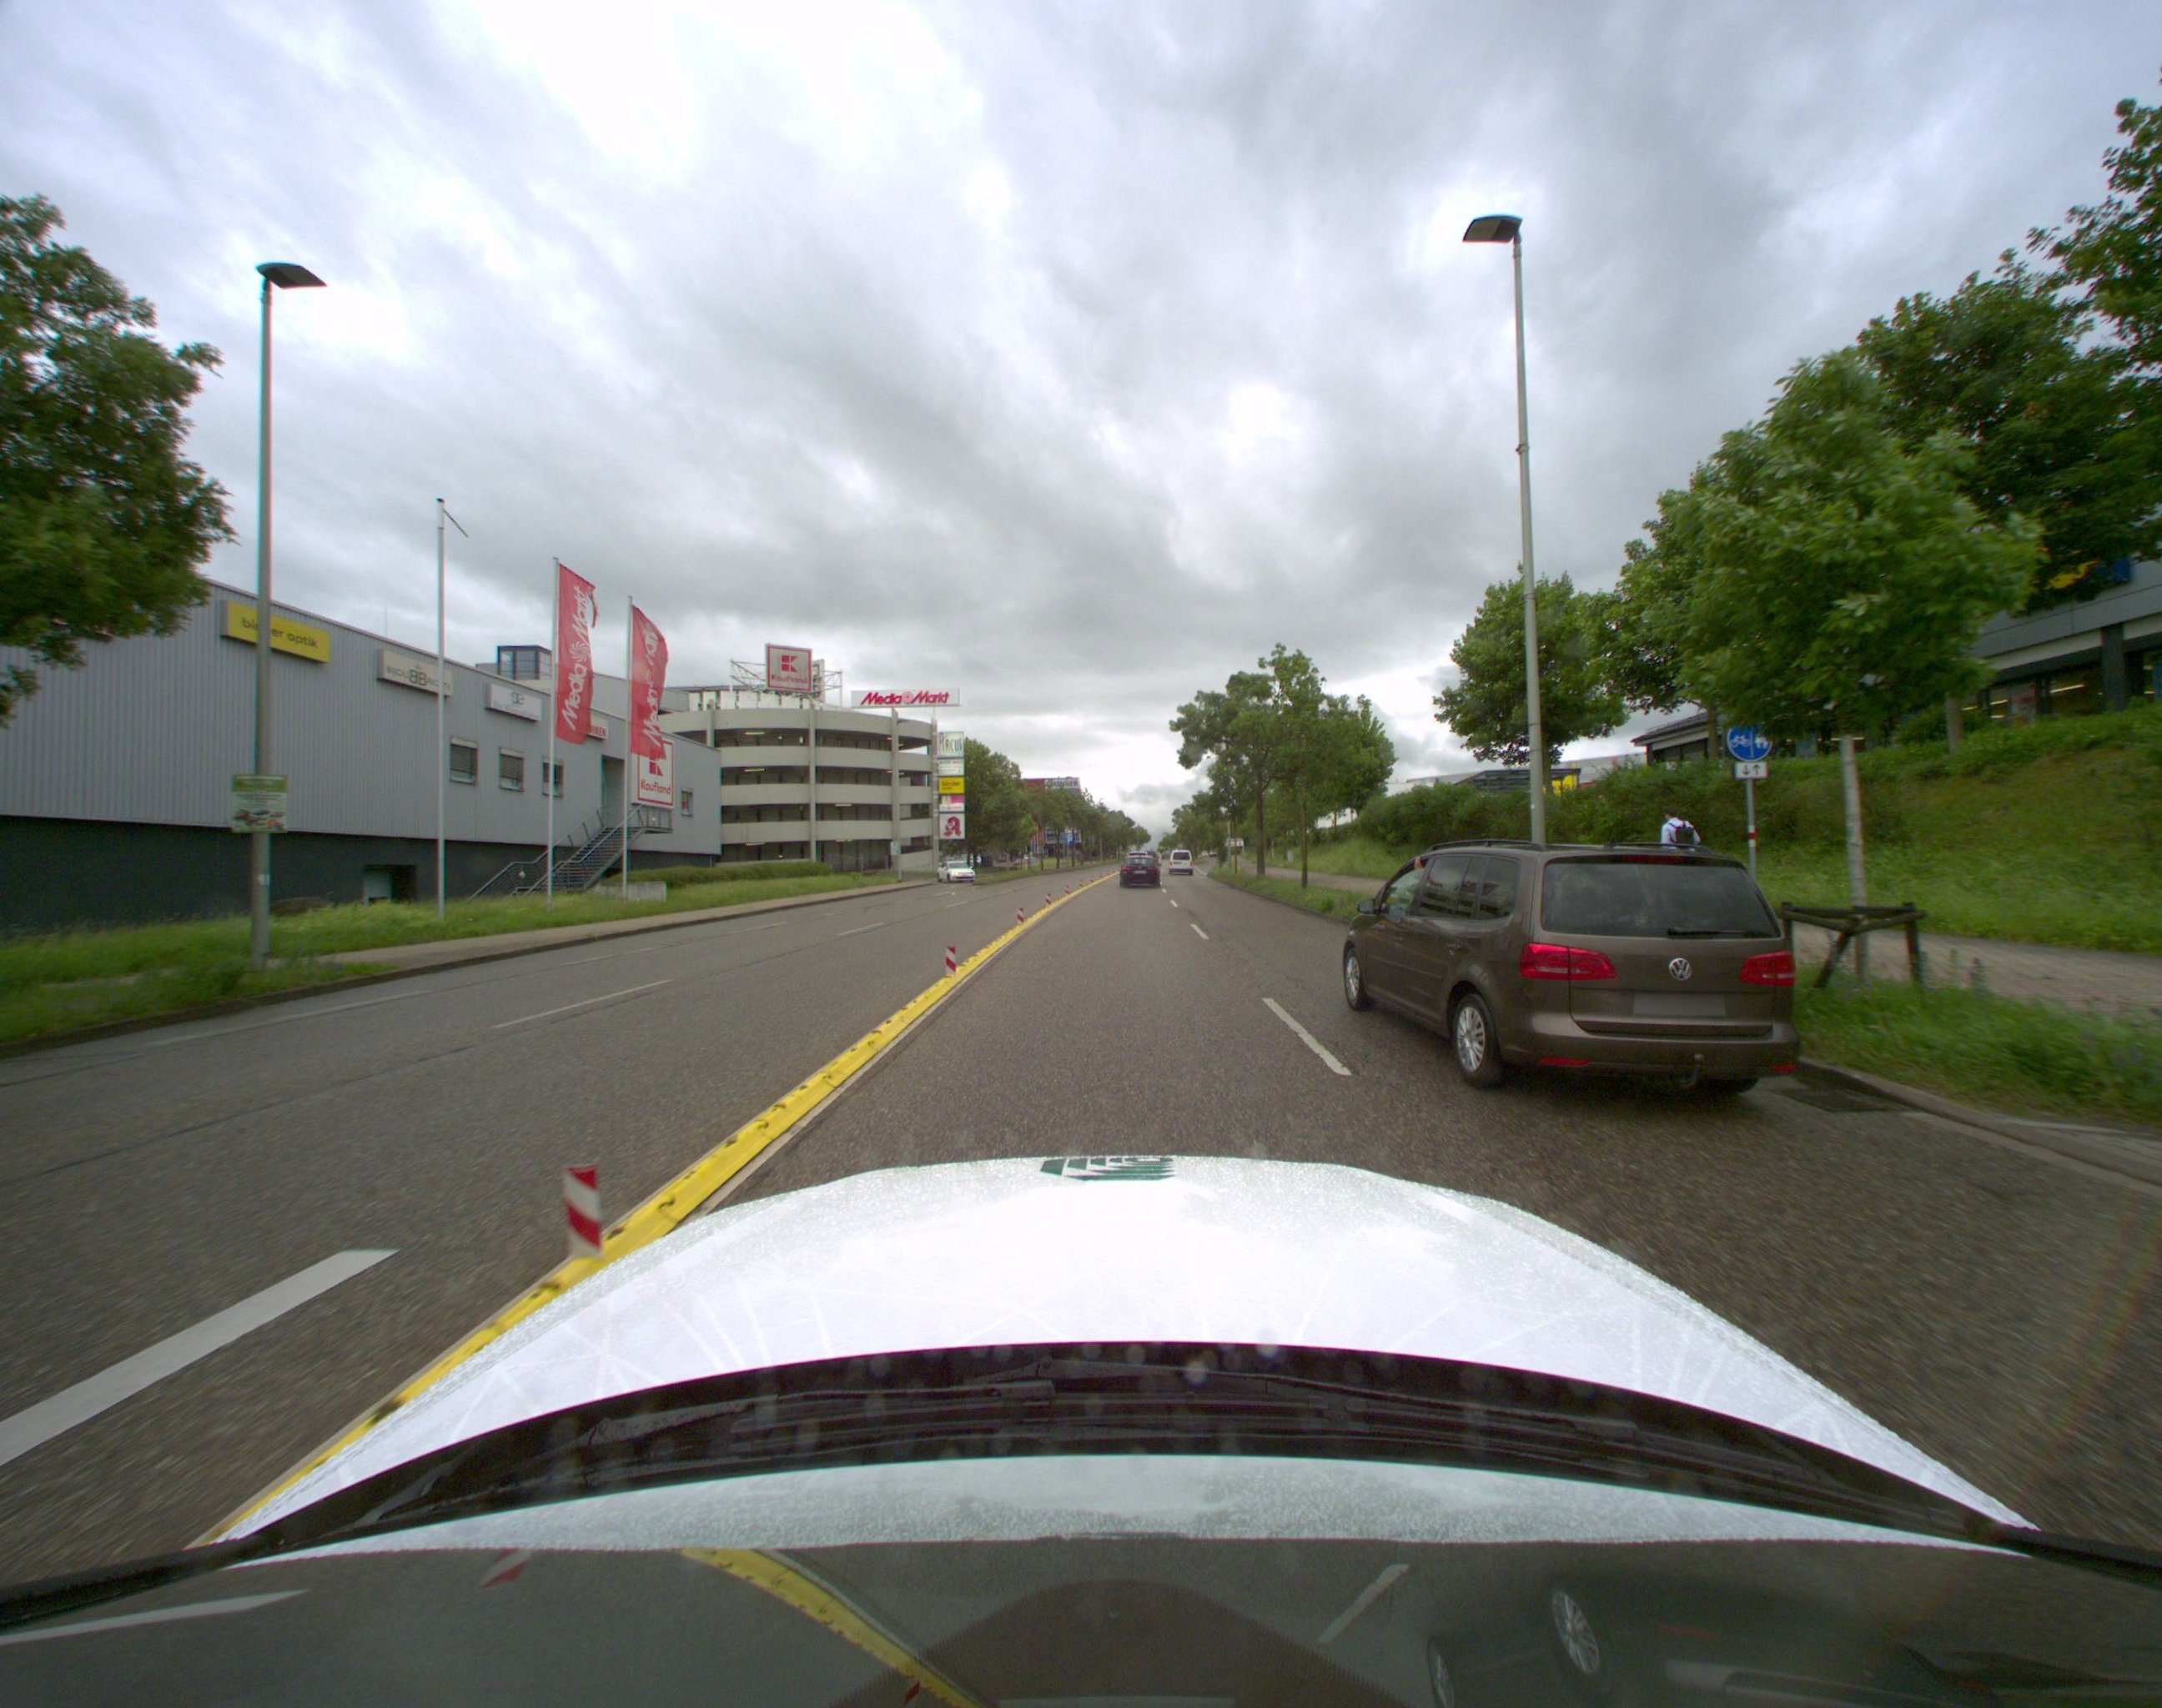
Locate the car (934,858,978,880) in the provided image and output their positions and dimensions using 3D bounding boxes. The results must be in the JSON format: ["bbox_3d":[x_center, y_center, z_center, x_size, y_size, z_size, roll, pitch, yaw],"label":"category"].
[{"bbox_3d":[-8.639,1.027,56.054,1.908,1.408,4.388,-3,0,-24],"label":"car"}]

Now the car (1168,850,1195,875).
[{"bbox_3d":[7.400,0.597,60.211,1.819,1.759,4.005,1,0,4],"label":"car"}]

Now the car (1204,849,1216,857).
[{"bbox_3d":[23.545,-0.137,149.053,1.786,1.510,4.004,1,-1,3],"label":"car"}]

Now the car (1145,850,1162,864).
[{"bbox_3d":[7.849,0.324,88.000,1.786,1.510,4.005,1,-1,5],"label":"car"}]

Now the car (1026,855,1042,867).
[{"bbox_3d":[-7.780,1.132,135.803,2.030,1.762,4.951,0,1,4],"label":"car"}]

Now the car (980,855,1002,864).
[{"bbox_3d":[-17.041,1.018,154.412,4.097,1.510,1.818,0,1,-2],"label":"car"}]

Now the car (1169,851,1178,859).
[{"bbox_3d":[17.906,0.165,157.664,1.785,1.510,4.006,1,-1,5],"label":"car"}]

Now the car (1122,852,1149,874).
[{"bbox_3d":[3.860,0.623,57.551,1.786,1.510,4.004,1,-1,4],"label":"car"}]

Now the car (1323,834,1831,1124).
[{"bbox_3d":[3.363,0.701,6.609,1.679,1.581,4.220,1,0,2],"label":"car"}]

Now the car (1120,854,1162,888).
[{"bbox_3d":[2.802,0.766,38.153,1.819,1.468,4.004,0,1,4],"label":"car"}]

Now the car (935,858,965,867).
[{"bbox_3d":[-21.842,1.411,135.872,4.597,1.510,2.024,0,1,-2],"label":"car"}]

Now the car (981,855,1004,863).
[{"bbox_3d":[-17.022,1.013,156.653,4.097,1.510,1.818,0,1,-2],"label":"car"}]

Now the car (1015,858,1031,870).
[{"bbox_3d":[-8.607,1.538,121.277,1.925,1.608,4.714,0,1,2],"label":"car"}]

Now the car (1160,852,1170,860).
[{"bbox_3d":[17.789,0.397,172.894,1.786,1.510,4.003,1,-1,3],"label":"car"}]

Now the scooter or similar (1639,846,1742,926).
[{"bbox_3d":[10.516,0.516,14.099,0.692,1.263,1.401,-3,1,1],"label":"scooter or similar"}]

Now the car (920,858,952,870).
[{"bbox_3d":[-22.173,1.571,124.669,4.591,1.745,2.130,0,1,-5],"label":"car"}]

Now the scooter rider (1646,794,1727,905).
[{"bbox_3d":[10.475,-0.078,14.121,0.692,1.820,0.858,-3,1,0],"label":"scooter rider"}]

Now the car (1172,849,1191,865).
[{"bbox_3d":[9.889,0.342,80.675,1.785,1.510,4.006,1,-1,6],"label":"car"}]

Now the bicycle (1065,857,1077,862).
[{"bbox_3d":[-1.937,1.029,154.092,2.064,0.935,1.097,3,0,10],"label":"bicycle"}]

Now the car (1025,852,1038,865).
[{"bbox_3d":[-8.585,0.813,141.599,2.108,2.095,5.118,0,1,-2],"label":"car"}]

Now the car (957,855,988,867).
[{"bbox_3d":[-16.863,1.094,126.834,4.586,1.745,1.966,0,1,-2],"label":"car"}]
